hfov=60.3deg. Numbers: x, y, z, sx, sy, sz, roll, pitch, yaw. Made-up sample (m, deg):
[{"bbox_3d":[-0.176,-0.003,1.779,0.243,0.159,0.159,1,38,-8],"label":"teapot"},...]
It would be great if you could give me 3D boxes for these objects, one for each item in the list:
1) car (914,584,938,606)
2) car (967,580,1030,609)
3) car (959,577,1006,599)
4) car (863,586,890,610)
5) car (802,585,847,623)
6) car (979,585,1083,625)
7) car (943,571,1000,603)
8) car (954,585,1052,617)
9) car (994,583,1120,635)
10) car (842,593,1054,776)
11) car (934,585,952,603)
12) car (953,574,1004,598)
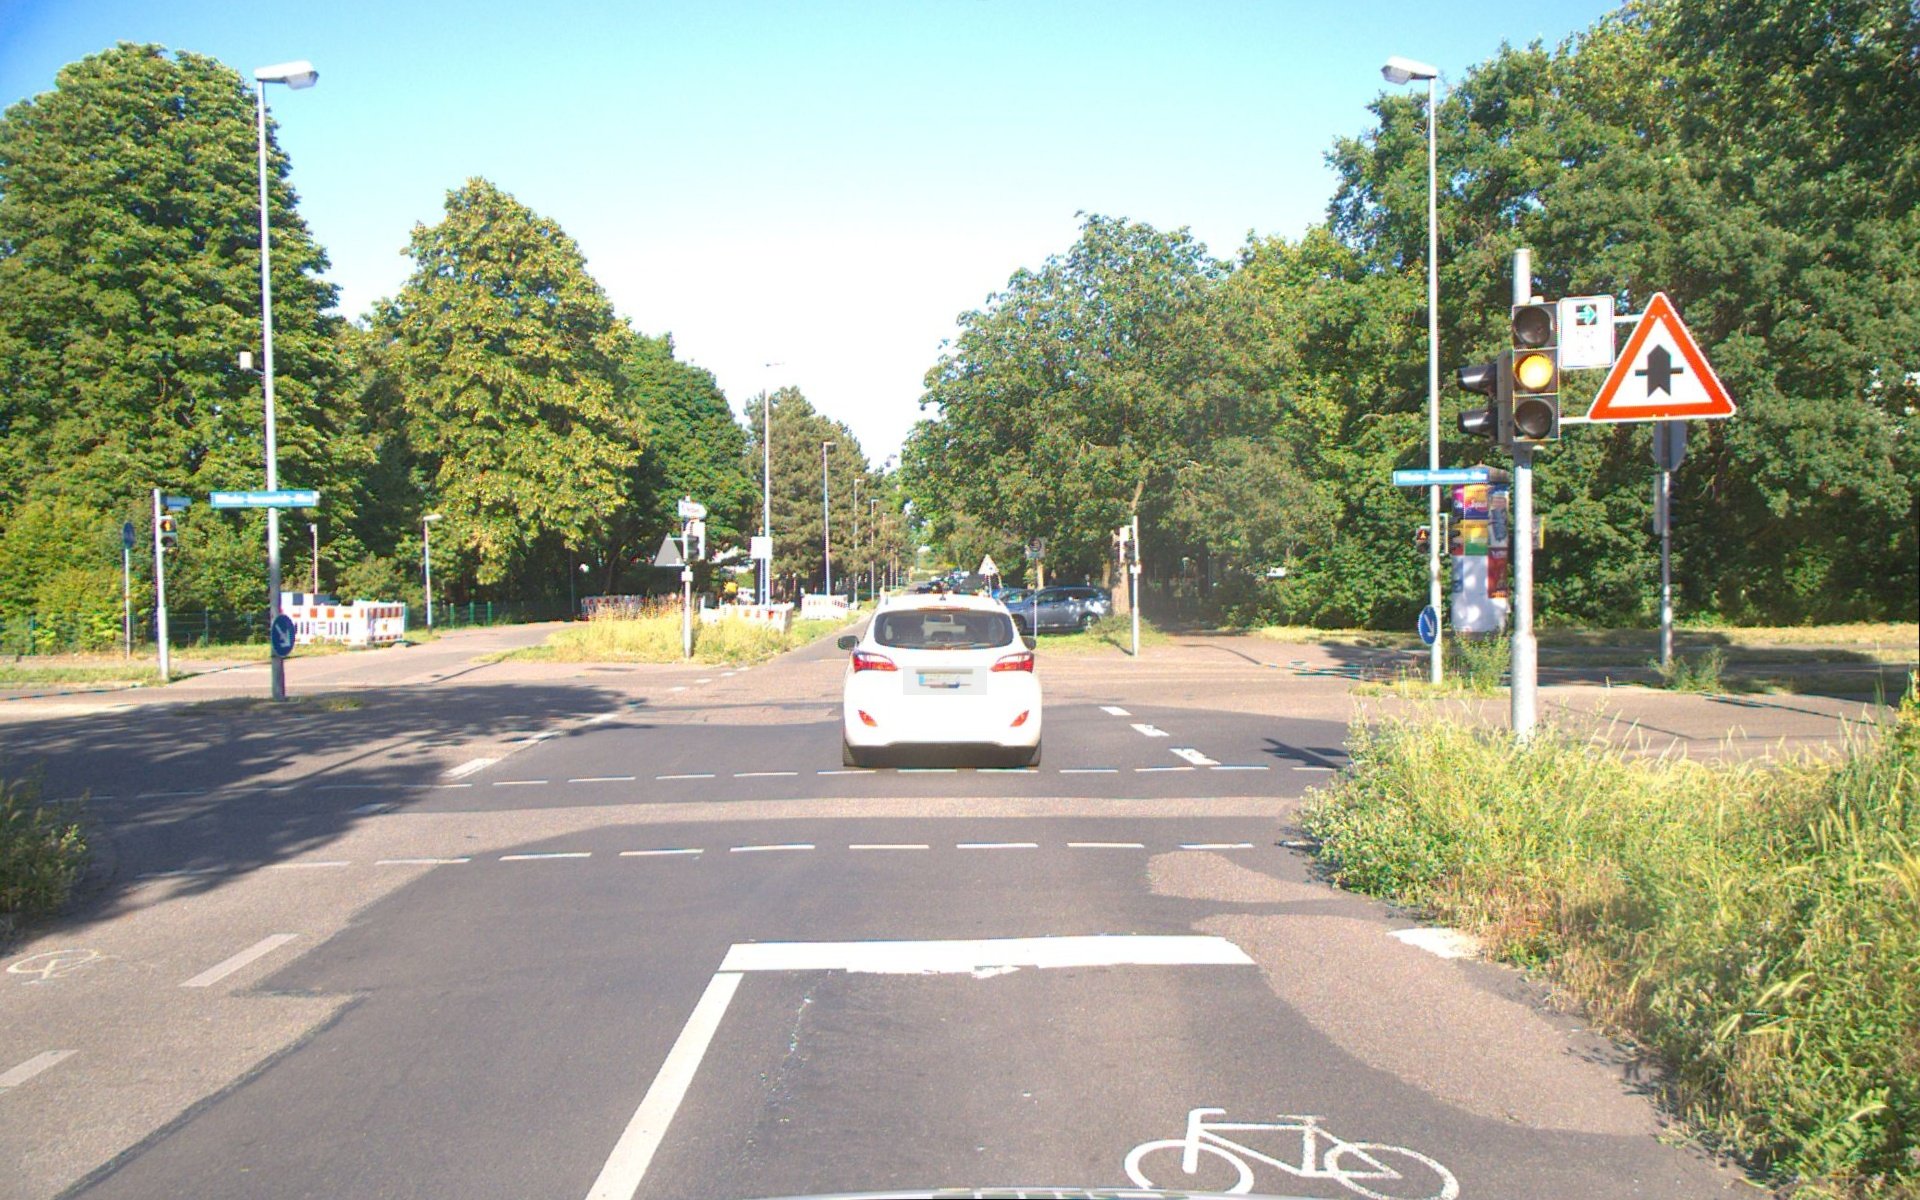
[{"bbox_3d":[-2.912,-0.461,142.995,1.953,1.847,3.999,1,0,-1],"label":"car"},{"bbox_3d":[2.340,-0.325,101.204,3.741,1.713,1.863,1,0,-1],"label":"car"},{"bbox_3d":[1.823,-0.985,135.404,3.741,1.798,1.863,1,0,-1],"label":"car"},{"bbox_3d":[-6.641,-0.185,131.327,1.953,1.847,3.999,-1,0,-1],"label":"car"},{"bbox_3d":[-6.797,0.197,83.052,1.953,1.847,3.999,1,0,-1],"label":"car"},{"bbox_3d":[3.039,0.201,71.354,4.405,1.658,1.855,0,0,1],"label":"car"},{"bbox_3d":[0.757,-0.869,111.212,3.741,2.135,1.863,1,0,-1],"label":"car"},{"bbox_3d":[2.444,0.053,94.842,5.500,1.713,1.948,1,0,-1],"label":"car"},{"bbox_3d":[3.448,0.313,59.258,4.405,1.814,1.855,0,0,1],"label":"car"},{"bbox_3d":[-0.170,0.685,15.650,1.753,1.489,3.962,0,1,-2],"label":"car"},{"bbox_3d":[-1.873,-0.653,181.668,1.953,1.847,3.999,1,0,-1],"label":"car"},{"bbox_3d":[1.551,-1.160,138.547,4.214,1.941,1.863,1,0,-1],"label":"car"}]
